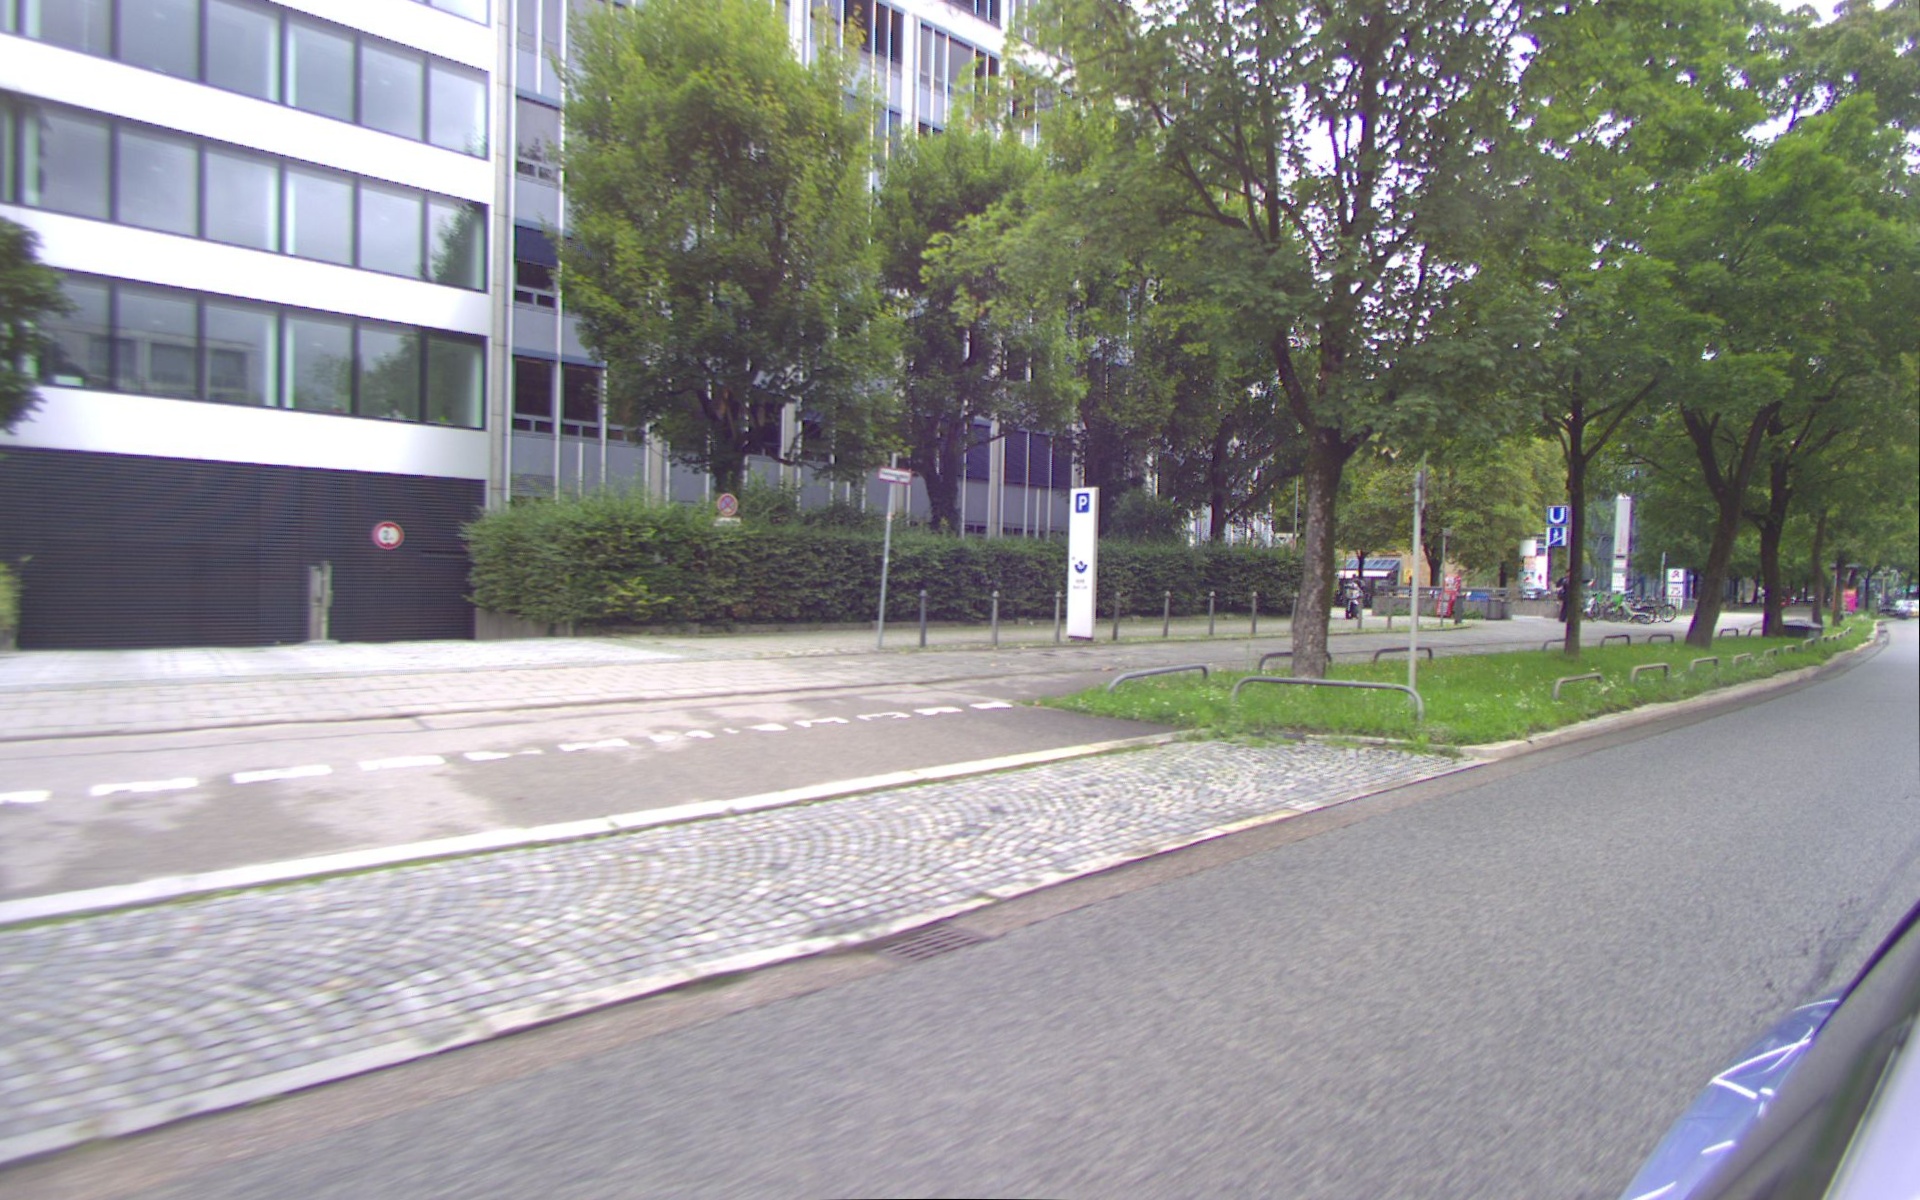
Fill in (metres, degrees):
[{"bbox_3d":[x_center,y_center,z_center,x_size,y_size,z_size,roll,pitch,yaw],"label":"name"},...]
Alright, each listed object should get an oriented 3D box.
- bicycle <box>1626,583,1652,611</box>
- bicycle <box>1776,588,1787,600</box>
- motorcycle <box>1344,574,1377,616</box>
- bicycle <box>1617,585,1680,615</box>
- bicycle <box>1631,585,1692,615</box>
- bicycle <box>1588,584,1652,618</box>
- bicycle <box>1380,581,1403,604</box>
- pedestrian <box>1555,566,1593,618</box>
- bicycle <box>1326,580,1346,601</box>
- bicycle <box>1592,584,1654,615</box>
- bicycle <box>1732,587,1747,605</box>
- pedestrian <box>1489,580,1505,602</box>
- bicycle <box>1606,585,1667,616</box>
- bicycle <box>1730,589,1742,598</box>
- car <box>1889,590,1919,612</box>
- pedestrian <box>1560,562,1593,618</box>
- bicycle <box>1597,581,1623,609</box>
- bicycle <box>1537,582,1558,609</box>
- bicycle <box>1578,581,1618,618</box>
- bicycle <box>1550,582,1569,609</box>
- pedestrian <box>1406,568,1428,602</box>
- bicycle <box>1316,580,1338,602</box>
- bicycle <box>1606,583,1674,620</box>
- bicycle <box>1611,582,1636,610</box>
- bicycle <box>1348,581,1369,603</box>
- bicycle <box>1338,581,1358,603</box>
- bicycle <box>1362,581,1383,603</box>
[{"bbox_3d":[29.552,-0.133,44.031,1.921,1.203,0.488,0,2,-44],"label":"bicycle"},{"bbox_3d":[84.459,-0.649,104.053,2.105,1.207,0.512,-1,3,-42],"label":"bicycle"},{"bbox_3d":[13.285,-0.182,33.558,0.546,1.335,2.048,2,2,35],"label":"motorcycle"},{"bbox_3d":[28.332,-0.015,41.664,2.005,1.102,0.604,3,4,6],"label":"bicycle"},{"bbox_3d":[29.584,0.007,42.680,1.996,1.112,0.580,3,4,5],"label":"bicycle"},{"bbox_3d":[25.622,0.017,39.294,1.921,1.122,0.580,5,2,6],"label":"bicycle"},{"bbox_3d":[25.359,-0.447,59.490,0.606,1.276,2.025,3,2,41],"label":"bicycle"},{"bbox_3d":[20.930,-0.292,34.492,0.735,1.735,0.787,1,1,-26],"label":"pedestrian"},{"bbox_3d":[23.020,-0.574,61.918,0.507,1.276,1.927,2,2,39],"label":"bicycle"},{"bbox_3d":[26.343,-0.017,40.210,1.920,1.096,0.596,4,1,6],"label":"bicycle"},{"bbox_3d":[55.444,-0.276,71.969,0.620,1.265,1.891,3,2,43],"label":"bicycle"},{"bbox_3d":[41.703,-0.676,78.557,0.861,1.666,0.573,2,1,-5],"label":"pedestrian"},{"bbox_3d":[27.359,0.012,40.946,1.920,1.078,0.580,4,3,6],"label":"bicycle"},{"bbox_3d":[80.768,-0.698,105.338,2.029,0.952,0.571,-1,3,-42],"label":"bicycle"},{"bbox_3d":[76.308,0.050,81.511,4.525,1.610,1.863,0,3,-43],"label":"car"},{"bbox_3d":[21.490,-0.357,35.277,0.734,1.923,0.654,1,1,-29],"label":"pedestrian"},{"bbox_3d":[28.803,-0.202,44.839,1.921,1.203,0.488,0,2,-44],"label":"bicycle"},{"bbox_3d":[27.468,-0.211,47.313,0.510,1.203,2.111,2,2,39],"label":"bicycle"},{"bbox_3d":[23.281,-0.016,36.928,1.826,1.241,0.532,3,2,-36],"label":"bicycle"},{"bbox_3d":[27.712,-0.212,46.768,0.445,1.203,2.111,2,2,39],"label":"bicycle"},{"bbox_3d":[24.357,-0.788,53.913,0.754,1.794,0.689,1,1,-30],"label":"pedestrian"},{"bbox_3d":[22.646,-0.562,62.412,0.551,1.276,2.144,2,2,39],"label":"bicycle"},{"bbox_3d":[25.780,0.044,38.394,1.928,1.203,0.594,5,2,16],"label":"bicycle"},{"bbox_3d":[28.992,-0.182,44.214,1.921,1.203,0.488,0,2,-44],"label":"bicycle"},{"bbox_3d":[24.093,-0.465,61.133,0.507,1.276,2.144,2,2,39],"label":"bicycle"},{"bbox_3d":[23.551,-0.500,61.434,0.507,1.276,1.994,2,2,39],"label":"bicycle"},{"bbox_3d":[24.674,-0.488,60.553,0.507,1.276,2.144,2,2,39],"label":"bicycle"}]
